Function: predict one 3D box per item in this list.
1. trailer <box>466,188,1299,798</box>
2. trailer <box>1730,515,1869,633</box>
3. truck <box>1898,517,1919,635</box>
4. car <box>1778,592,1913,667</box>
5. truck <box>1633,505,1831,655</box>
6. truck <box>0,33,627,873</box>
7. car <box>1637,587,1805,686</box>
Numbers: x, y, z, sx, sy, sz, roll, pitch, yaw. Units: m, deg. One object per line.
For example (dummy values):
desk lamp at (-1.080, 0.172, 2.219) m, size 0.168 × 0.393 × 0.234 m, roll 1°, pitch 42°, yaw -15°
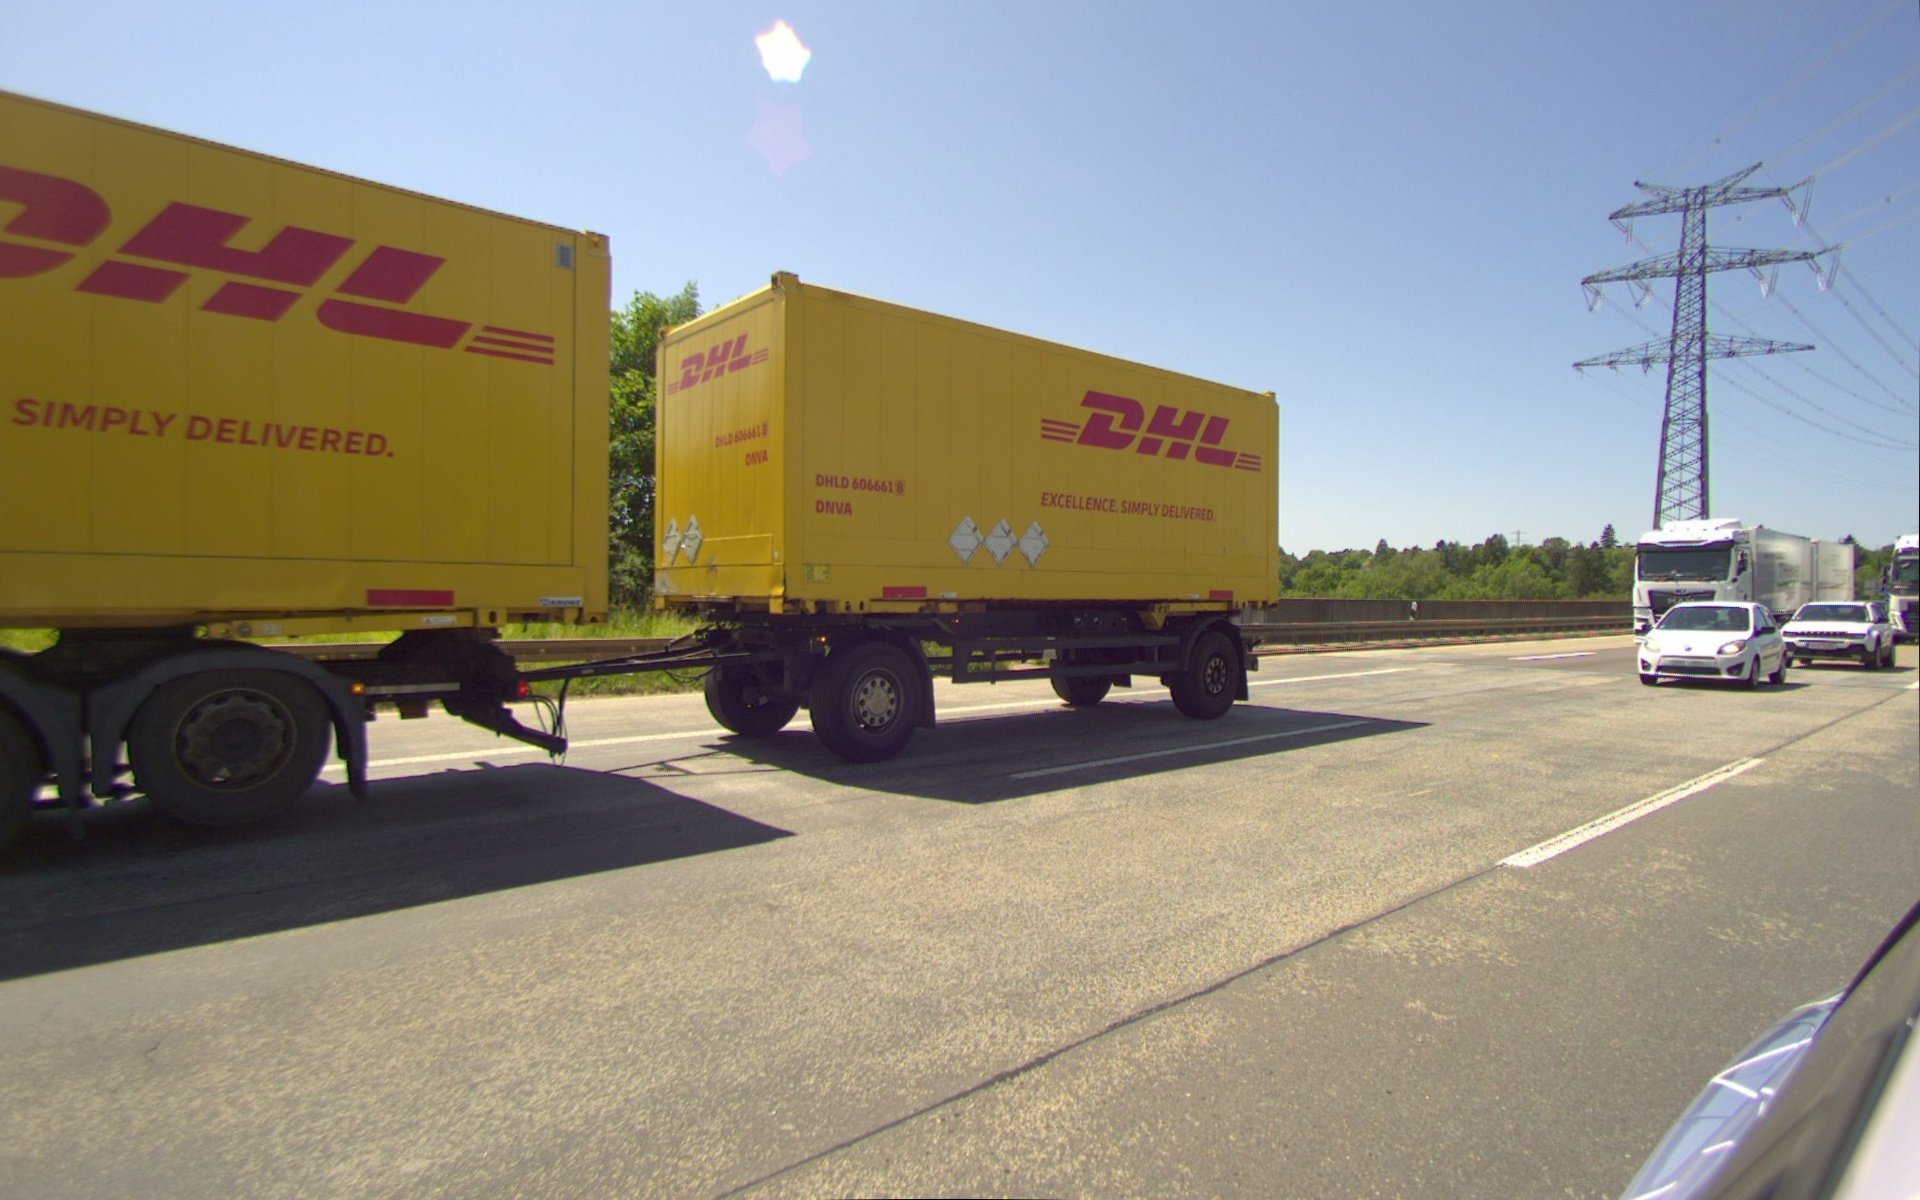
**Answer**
trailer at (-0.021, -0.725, 10.991) m, size 9.213 × 4.170 × 2.770 m, roll 0°, pitch -1°, yaw -41°
trailer at (31.400, -0.909, 37.722) m, size 7.637 × 3.991 × 2.750 m, roll 0°, pitch 0°, yaw -41°
truck at (39.352, -0.869, 39.212) m, size 14.002 × 4.090 × 2.716 m, roll 0°, pitch 0°, yaw -40°
car at (20.418, 0.617, 23.296) m, size 3.784 × 1.549 × 1.775 m, roll -1°, pitch 1°, yaw -40°
truck at (24.316, -0.582, 31.550) m, size 11.100 × 3.980 × 2.693 m, roll -1°, pitch 0°, yaw -41°
truck at (-6.922, -0.736, 4.948) m, size 9.778 × 4.162 × 2.770 m, roll 0°, pitch -1°, yaw -41°
car at (13.487, 0.565, 17.873) m, size 3.760 × 1.529 × 1.658 m, roll -1°, pitch 1°, yaw -42°
